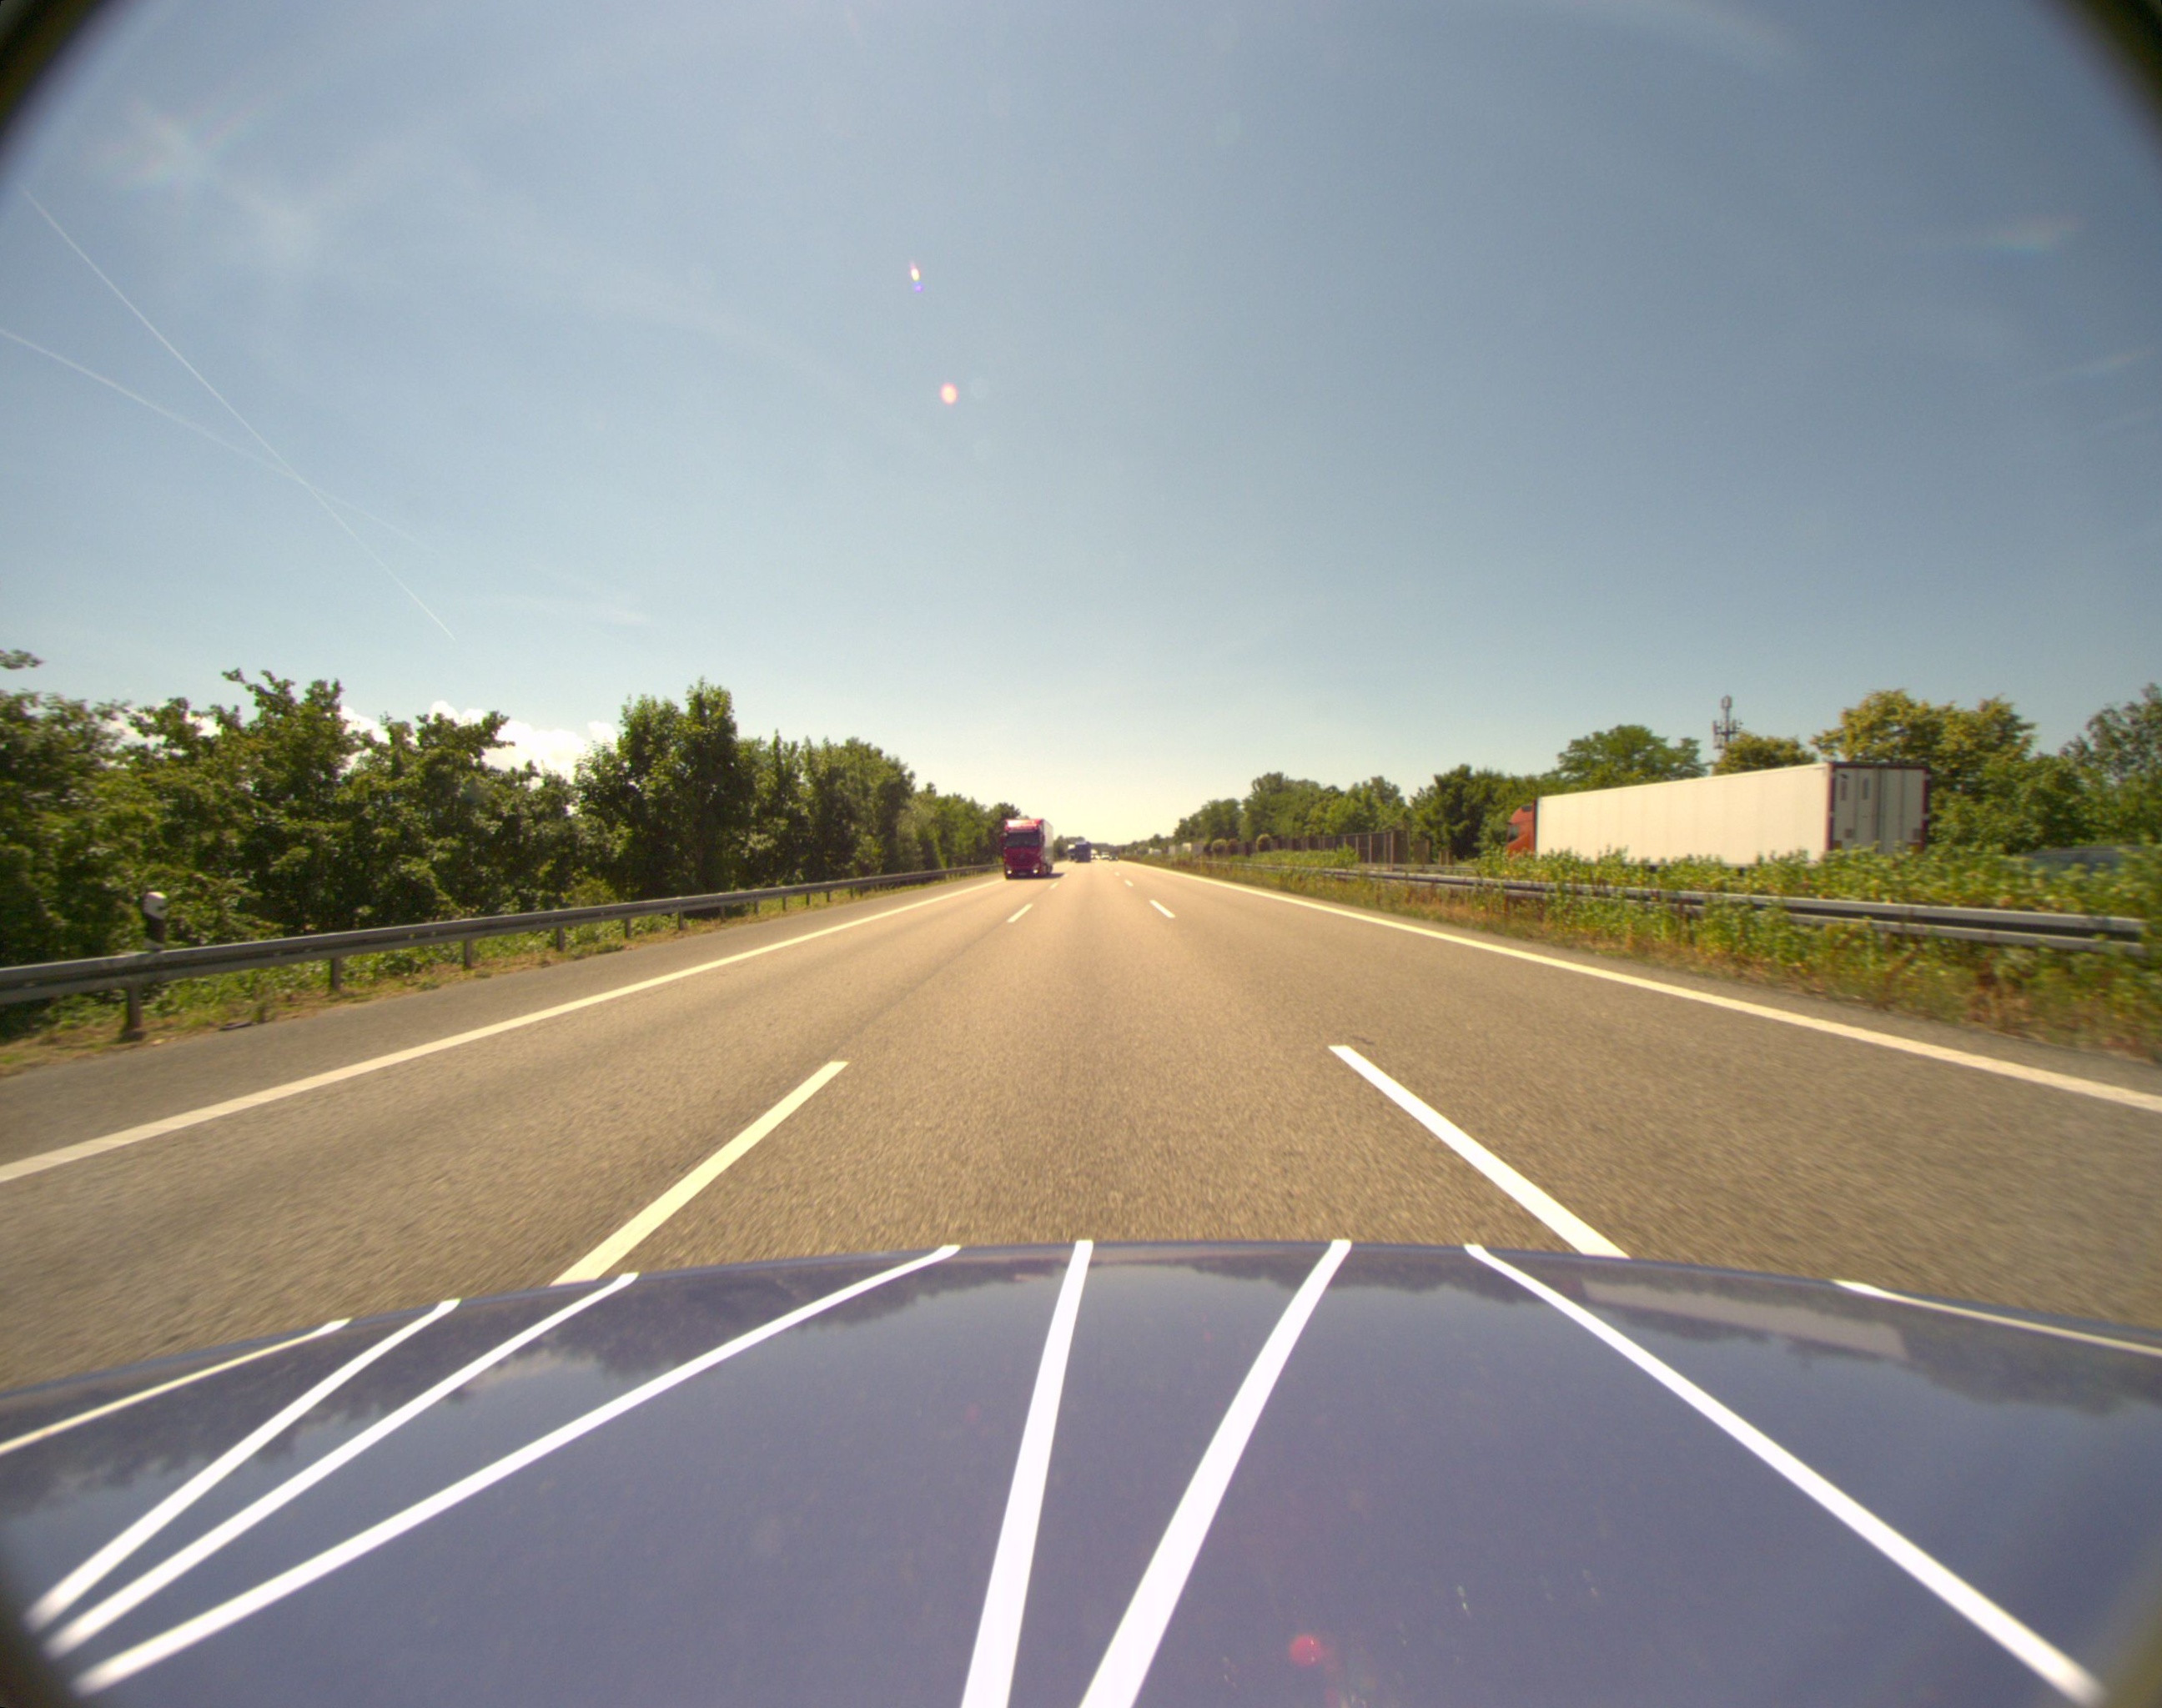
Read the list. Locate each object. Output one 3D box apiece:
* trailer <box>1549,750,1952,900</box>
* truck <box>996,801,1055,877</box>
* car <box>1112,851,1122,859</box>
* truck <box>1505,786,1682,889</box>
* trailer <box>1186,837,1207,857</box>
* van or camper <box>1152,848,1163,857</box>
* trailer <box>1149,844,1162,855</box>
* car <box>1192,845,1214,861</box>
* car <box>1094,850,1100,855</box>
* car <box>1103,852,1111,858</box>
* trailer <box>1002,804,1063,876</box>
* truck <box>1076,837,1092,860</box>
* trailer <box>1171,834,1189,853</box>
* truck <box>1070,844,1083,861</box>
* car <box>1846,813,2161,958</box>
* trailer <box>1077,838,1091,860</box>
[{"bbox_3d":[21.714,-0.825,26.621,2.739,3.912,13.064,1,1,1],"label":"trailer"},{"bbox_3d":[-3.685,-0.945,52.566,3.242,4.860,6.973,-2,0,2],"label":"truck"},{"bbox_3d":[7.327,0.258,155.546,2.045,1.559,4.001,-2,0,1],"label":"car"},{"bbox_3d":[21.920,-0.670,33.136,2.739,3.913,7.415,1,1,1],"label":"truck"},{"bbox_3d":[24.604,-1.464,162.314,2.849,4.149,12.222,-2,0,1],"label":"trailer"},{"bbox_3d":[20.737,-0.438,206.349,2.471,2.561,7.411,-1,0,1],"label":"van or camper"},{"bbox_3d":[26.289,-1.596,269.967,3.619,4.079,12.796,0,0,1],"label":"trailer"},{"bbox_3d":[14.349,-0.091,89.265,1.998,1.694,4.001,-2,0,1],"label":"car"},{"bbox_3d":[4.896,-0.533,233.214,1.855,1.559,4.000,-1,0,1],"label":"car"},{"bbox_3d":[6.643,0.303,196.270,1.855,1.559,4.001,-2,0,1],"label":"car"},{"bbox_3d":[-3.515,-0.907,59.024,3.277,4.809,14.031,-2,0,2],"label":"trailer"},{"bbox_3d":[0.550,-0.962,143.677,2.707,4.093,6.991,-2,0,0],"label":"truck"},{"bbox_3d":[25.407,-2.656,195.691,3.174,4.451,12.952,-1,0,1],"label":"trailer"},{"bbox_3d":[-1.127,-0.296,186.815,2.820,4.138,10.449,-2,0,1],"label":"truck"},{"bbox_3d":[13.616,0.357,10.621,1.847,1.694,4.001,-2,0,1],"label":"car"},{"bbox_3d":[0.522,-0.903,150.759,2.707,4.093,12.131,-2,0,0],"label":"trailer"}]
